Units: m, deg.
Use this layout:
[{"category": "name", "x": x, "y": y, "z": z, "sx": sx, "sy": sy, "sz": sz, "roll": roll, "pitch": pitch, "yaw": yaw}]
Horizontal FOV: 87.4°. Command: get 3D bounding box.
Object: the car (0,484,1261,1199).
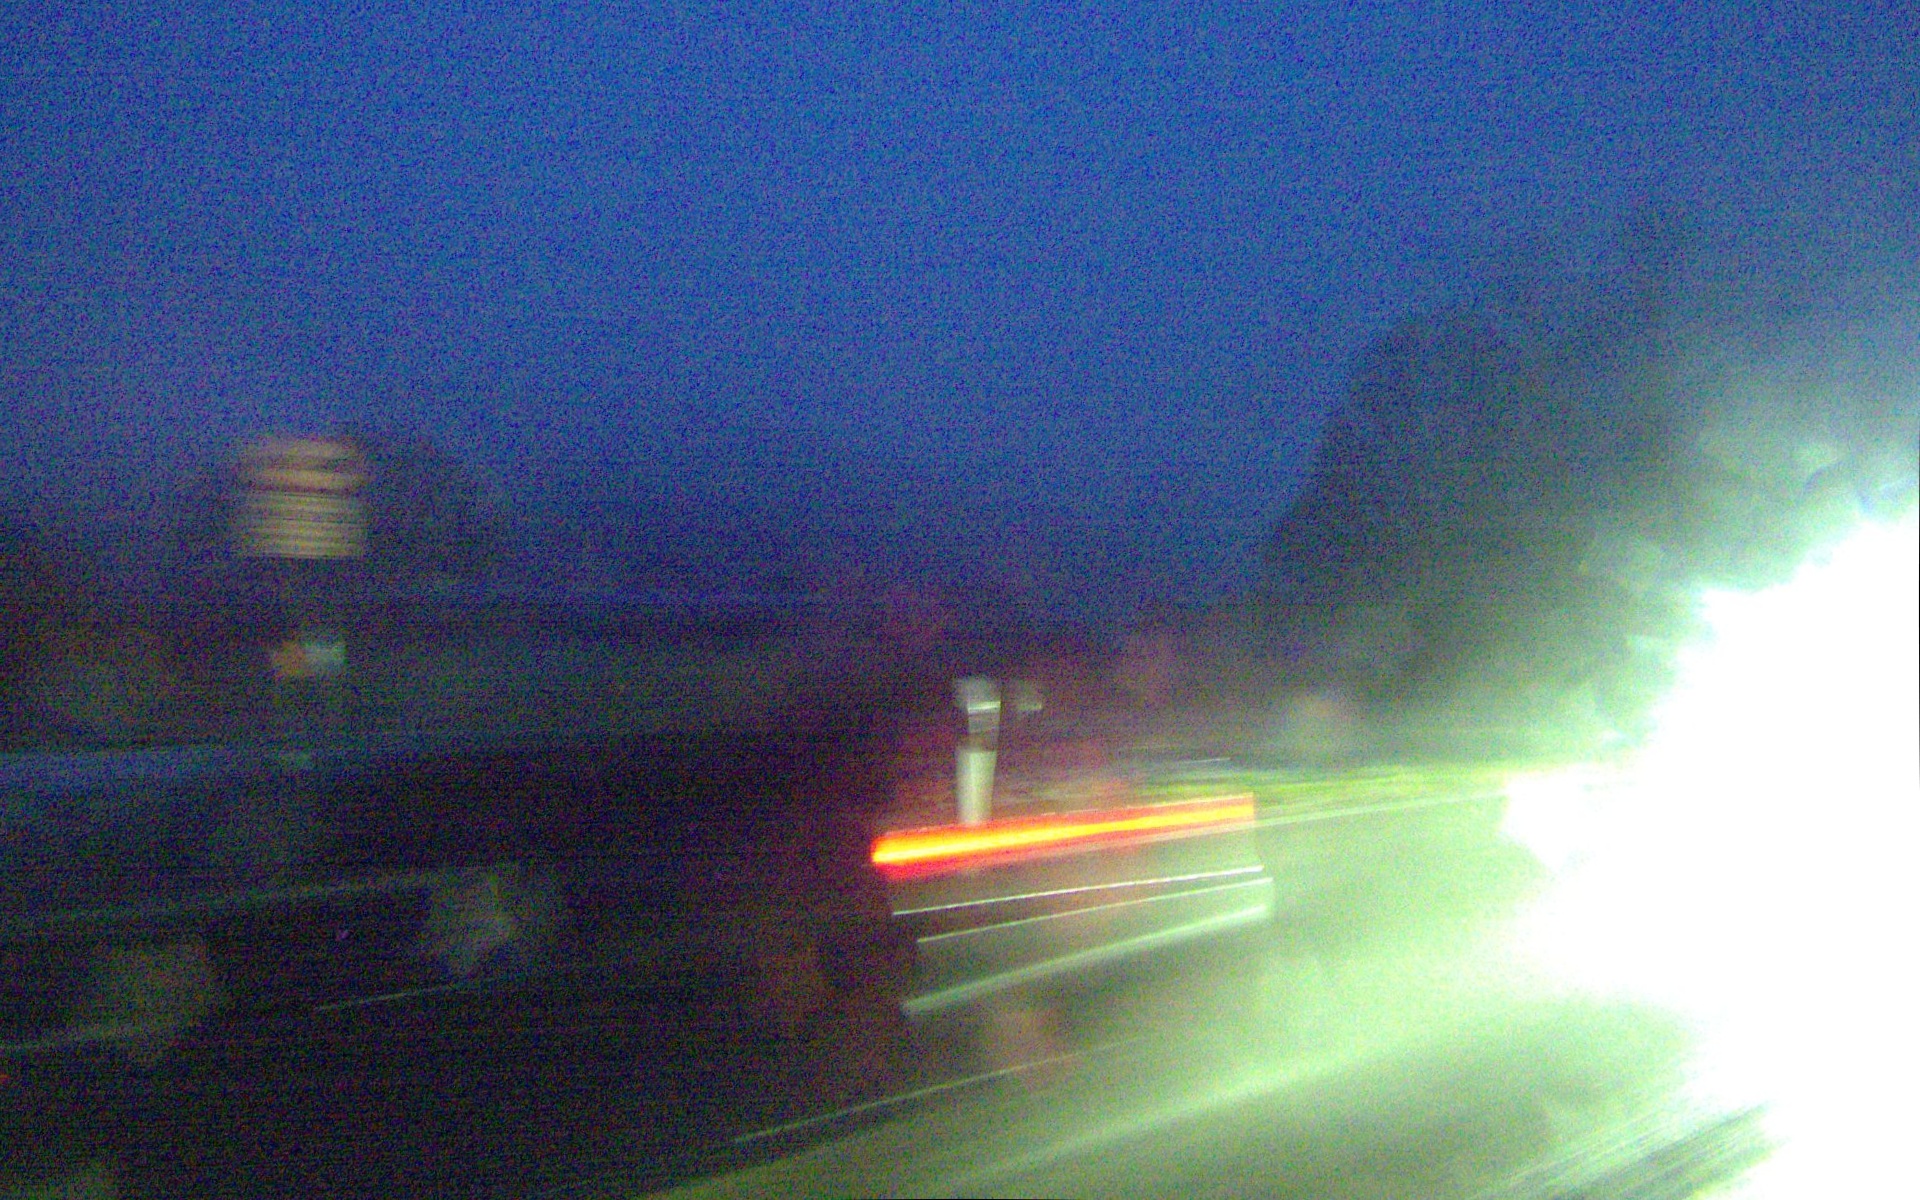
[{"category": "car", "x": -1.089, "y": 0.648, "z": 2.609, "sx": 3.519, "sy": 1.581, "sz": 1.655, "roll": 1, "pitch": -1, "yaw": -30}]
